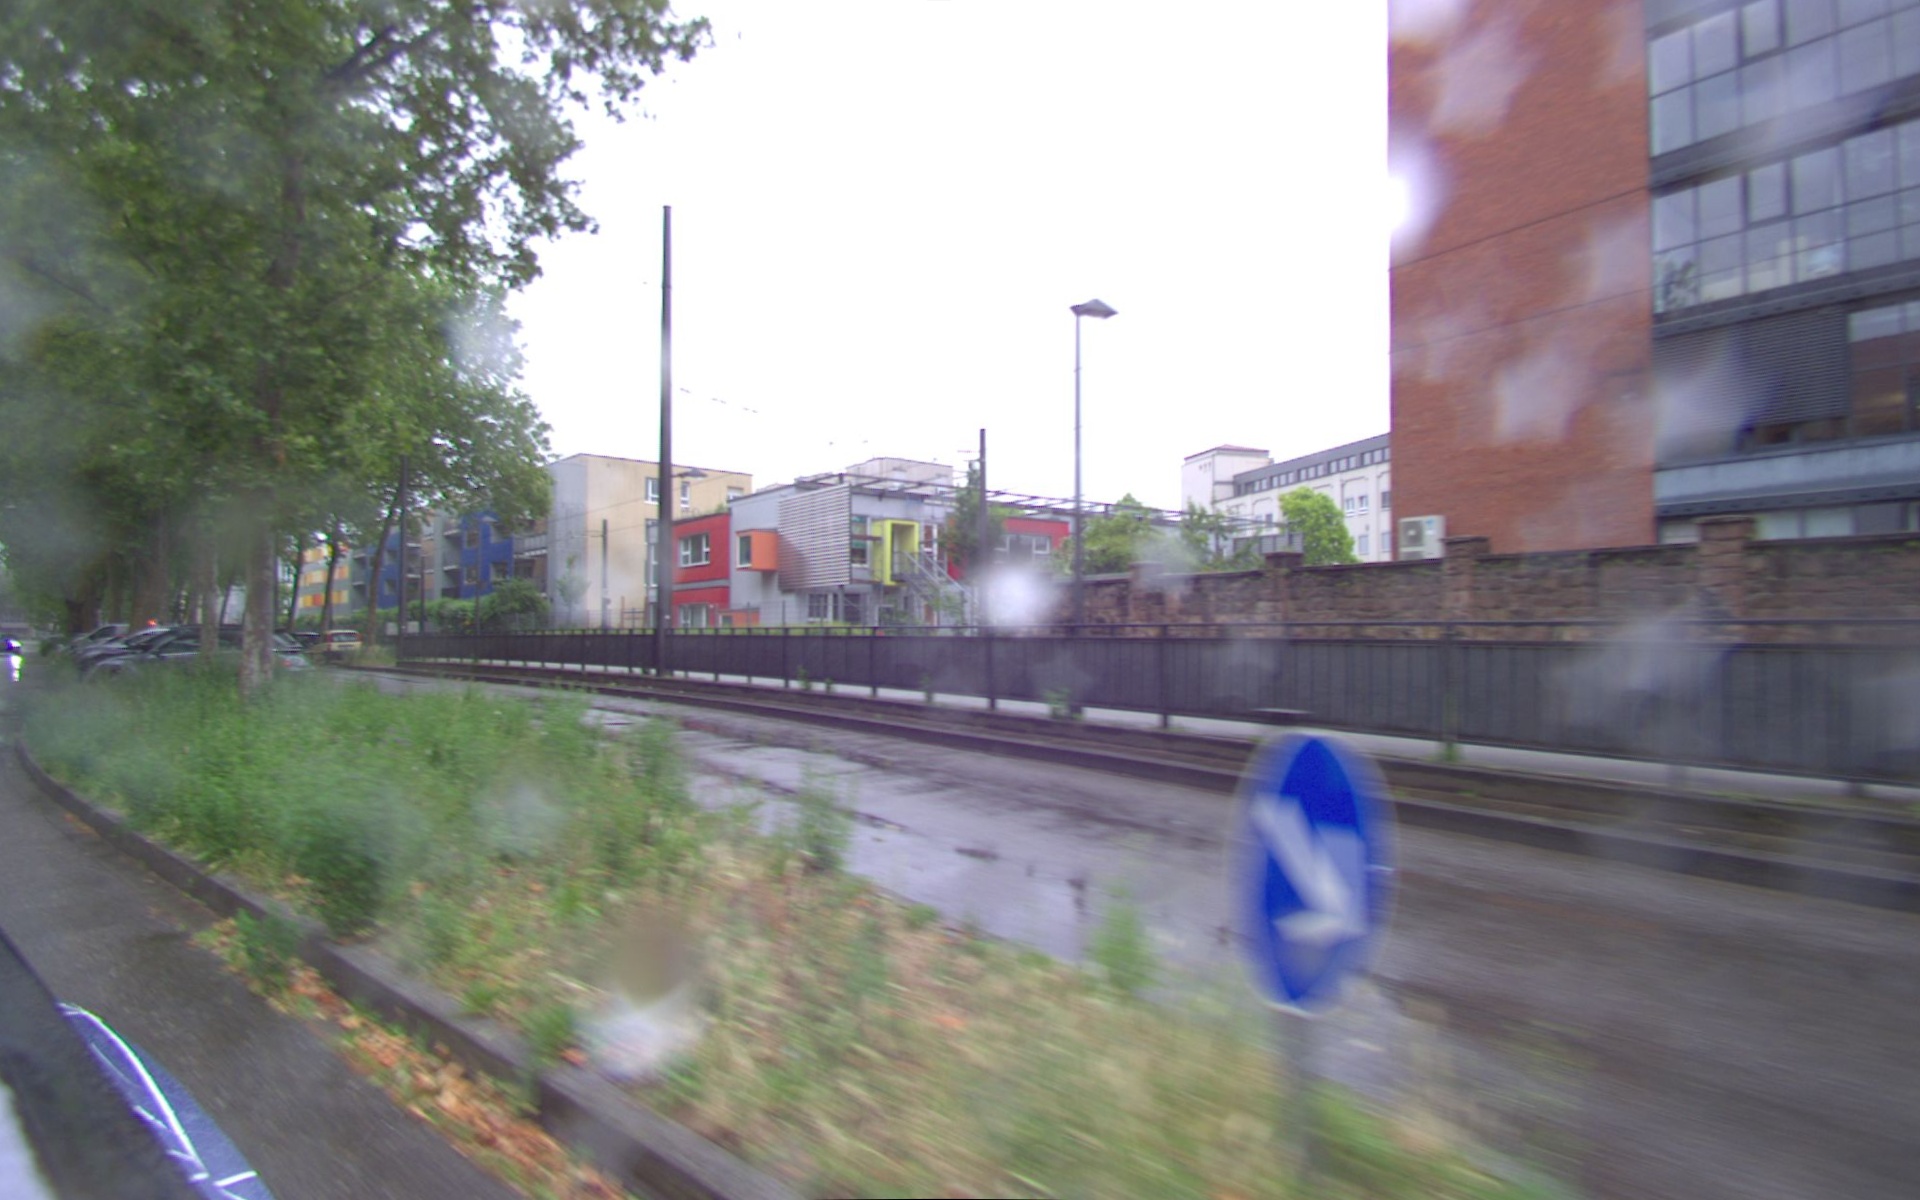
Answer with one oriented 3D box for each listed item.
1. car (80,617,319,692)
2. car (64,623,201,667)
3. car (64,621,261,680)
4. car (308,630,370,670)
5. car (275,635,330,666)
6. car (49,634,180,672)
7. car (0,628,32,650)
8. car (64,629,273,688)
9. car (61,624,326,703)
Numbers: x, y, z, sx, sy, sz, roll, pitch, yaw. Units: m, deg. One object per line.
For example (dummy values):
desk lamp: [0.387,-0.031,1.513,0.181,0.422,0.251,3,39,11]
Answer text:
car: [-18.059,1.302,24.236,4.161,1.622,1.752,2,-3,-12]
car: [-40.847,2.232,50.086,4.812,2.029,2.005,2,-3,-12]
car: [-23.951,1.537,30.582,4.260,1.625,1.753,2,-3,-16]
car: [-28.594,2.282,46.571,1.667,1.737,3.695,4,-4,-43]
car: [-34.014,2.599,52.314,1.667,1.458,4.004,4,-4,-43]
car: [-36.232,2.272,43.489,3.931,1.497,1.665,2,-3,-20]
car: [-70.502,2.897,75.342,1.823,1.608,4.223,2,-3,-40]
car: [-22.199,1.655,28.558,4.263,1.519,1.752,2,-3,-10]
car: [-16.636,1.389,22.203,4.161,1.553,1.935,2,-3,-12]
